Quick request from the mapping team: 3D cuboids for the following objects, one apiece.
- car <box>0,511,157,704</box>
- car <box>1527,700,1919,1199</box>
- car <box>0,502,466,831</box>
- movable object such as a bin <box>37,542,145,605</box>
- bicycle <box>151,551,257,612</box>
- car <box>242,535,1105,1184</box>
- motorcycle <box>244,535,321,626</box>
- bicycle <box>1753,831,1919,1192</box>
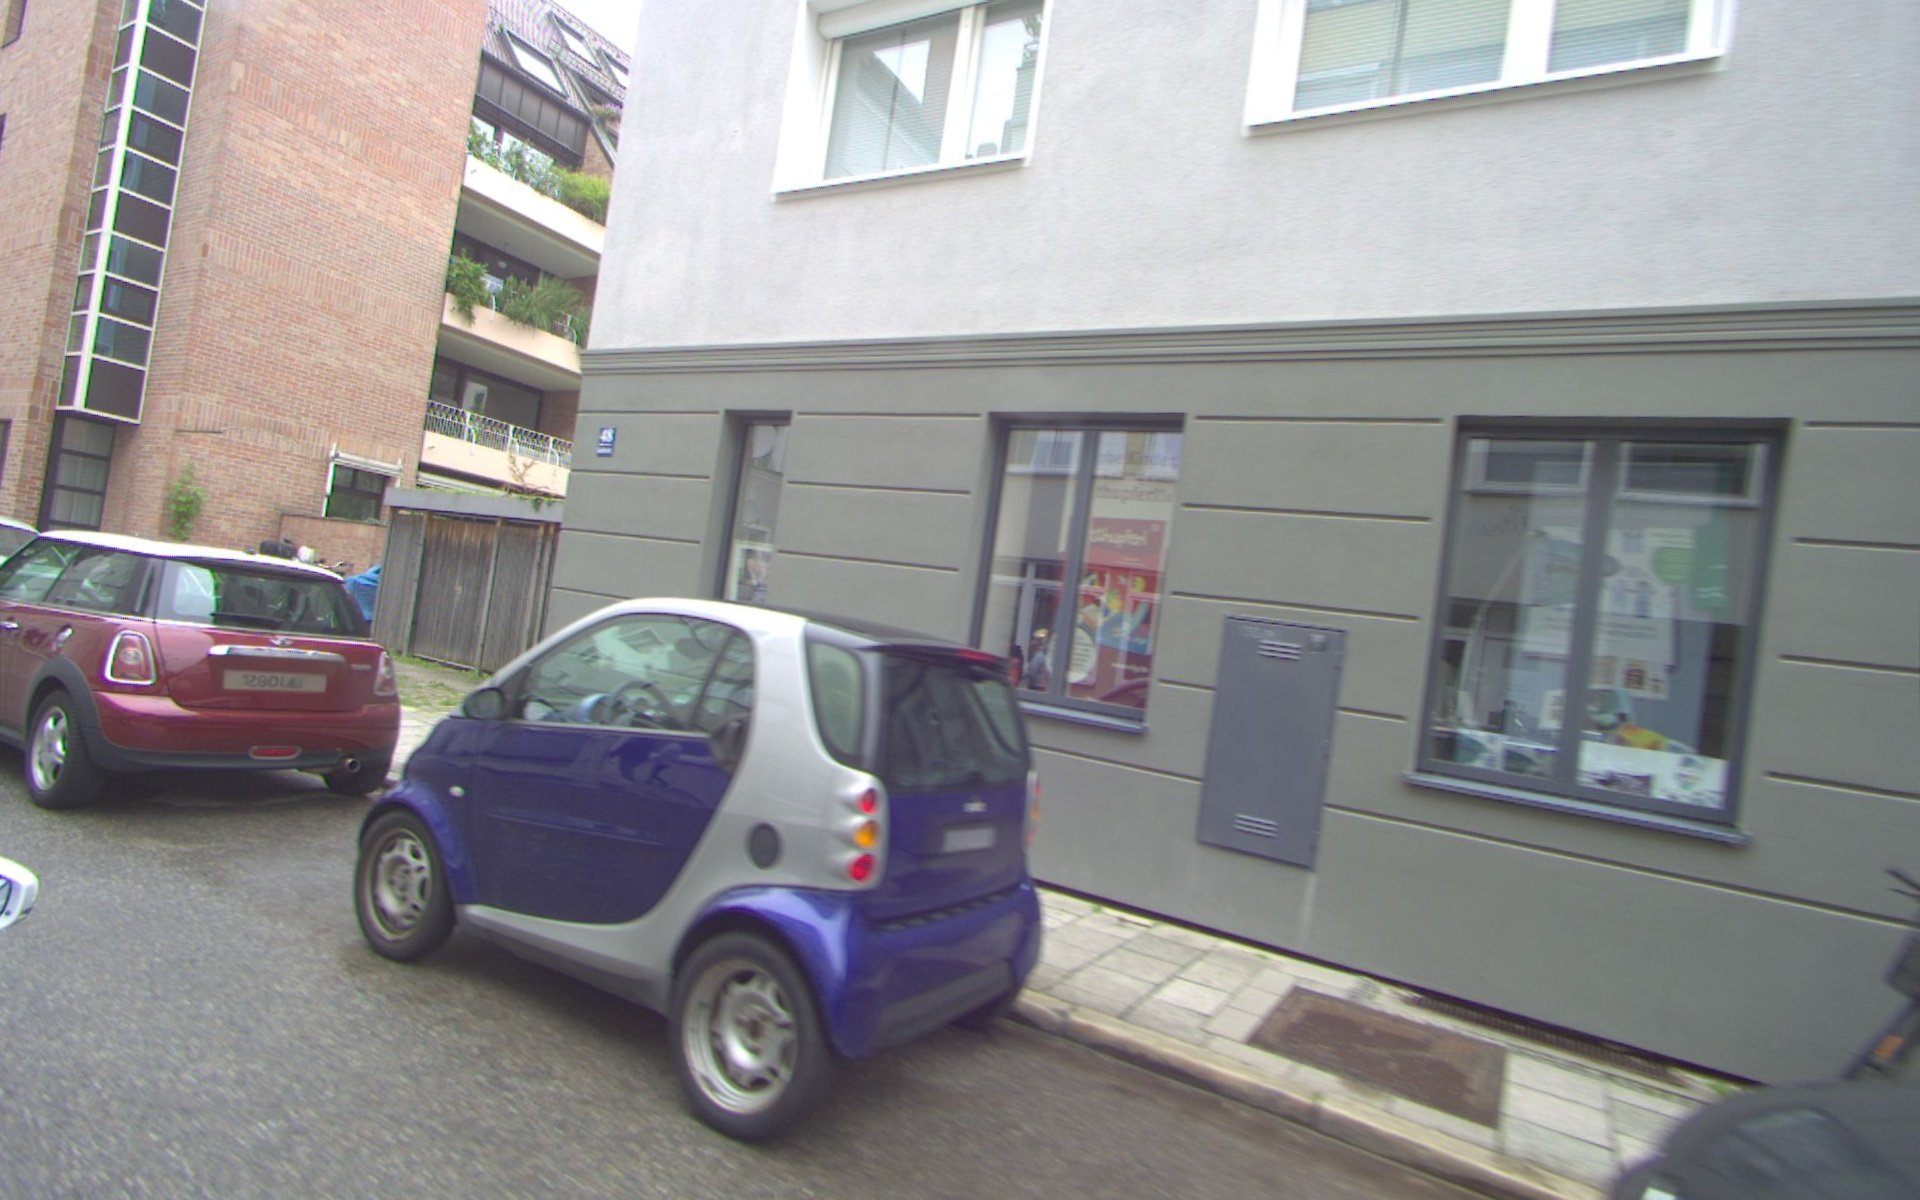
[{"bbox_3d":[-9.247,-0.175,8.818,4.523,1.433,1.841,7,-3,31],"label":"car"},{"bbox_3d":[2.968,1.206,0.871,4.220,1.545,1.845,7,-3,31],"label":"car"},{"bbox_3d":[-5.354,0.246,6.550,4.080,1.478,1.750,7,-3,31],"label":"car"},{"bbox_3d":[-14.395,-0.426,16.675,0.830,0.841,1.089,7,-2,32],"label":"movable object such as a bin"},{"bbox_3d":[-12.889,-0.303,17.184,0.407,0.869,1.318,7,-2,32],"label":"bicycle"},{"bbox_3d":[-1.239,0.727,4.160,3.148,1.528,1.525,7,-2,31],"label":"car"},{"bbox_3d":[-11.369,-0.348,16.858,1.914,1.360,0.539,6,-1,43],"label":"motorcycle"},{"bbox_3d":[4.000,1.565,3.365,1.963,1.104,0.570,7,-1,33],"label":"bicycle"}]
